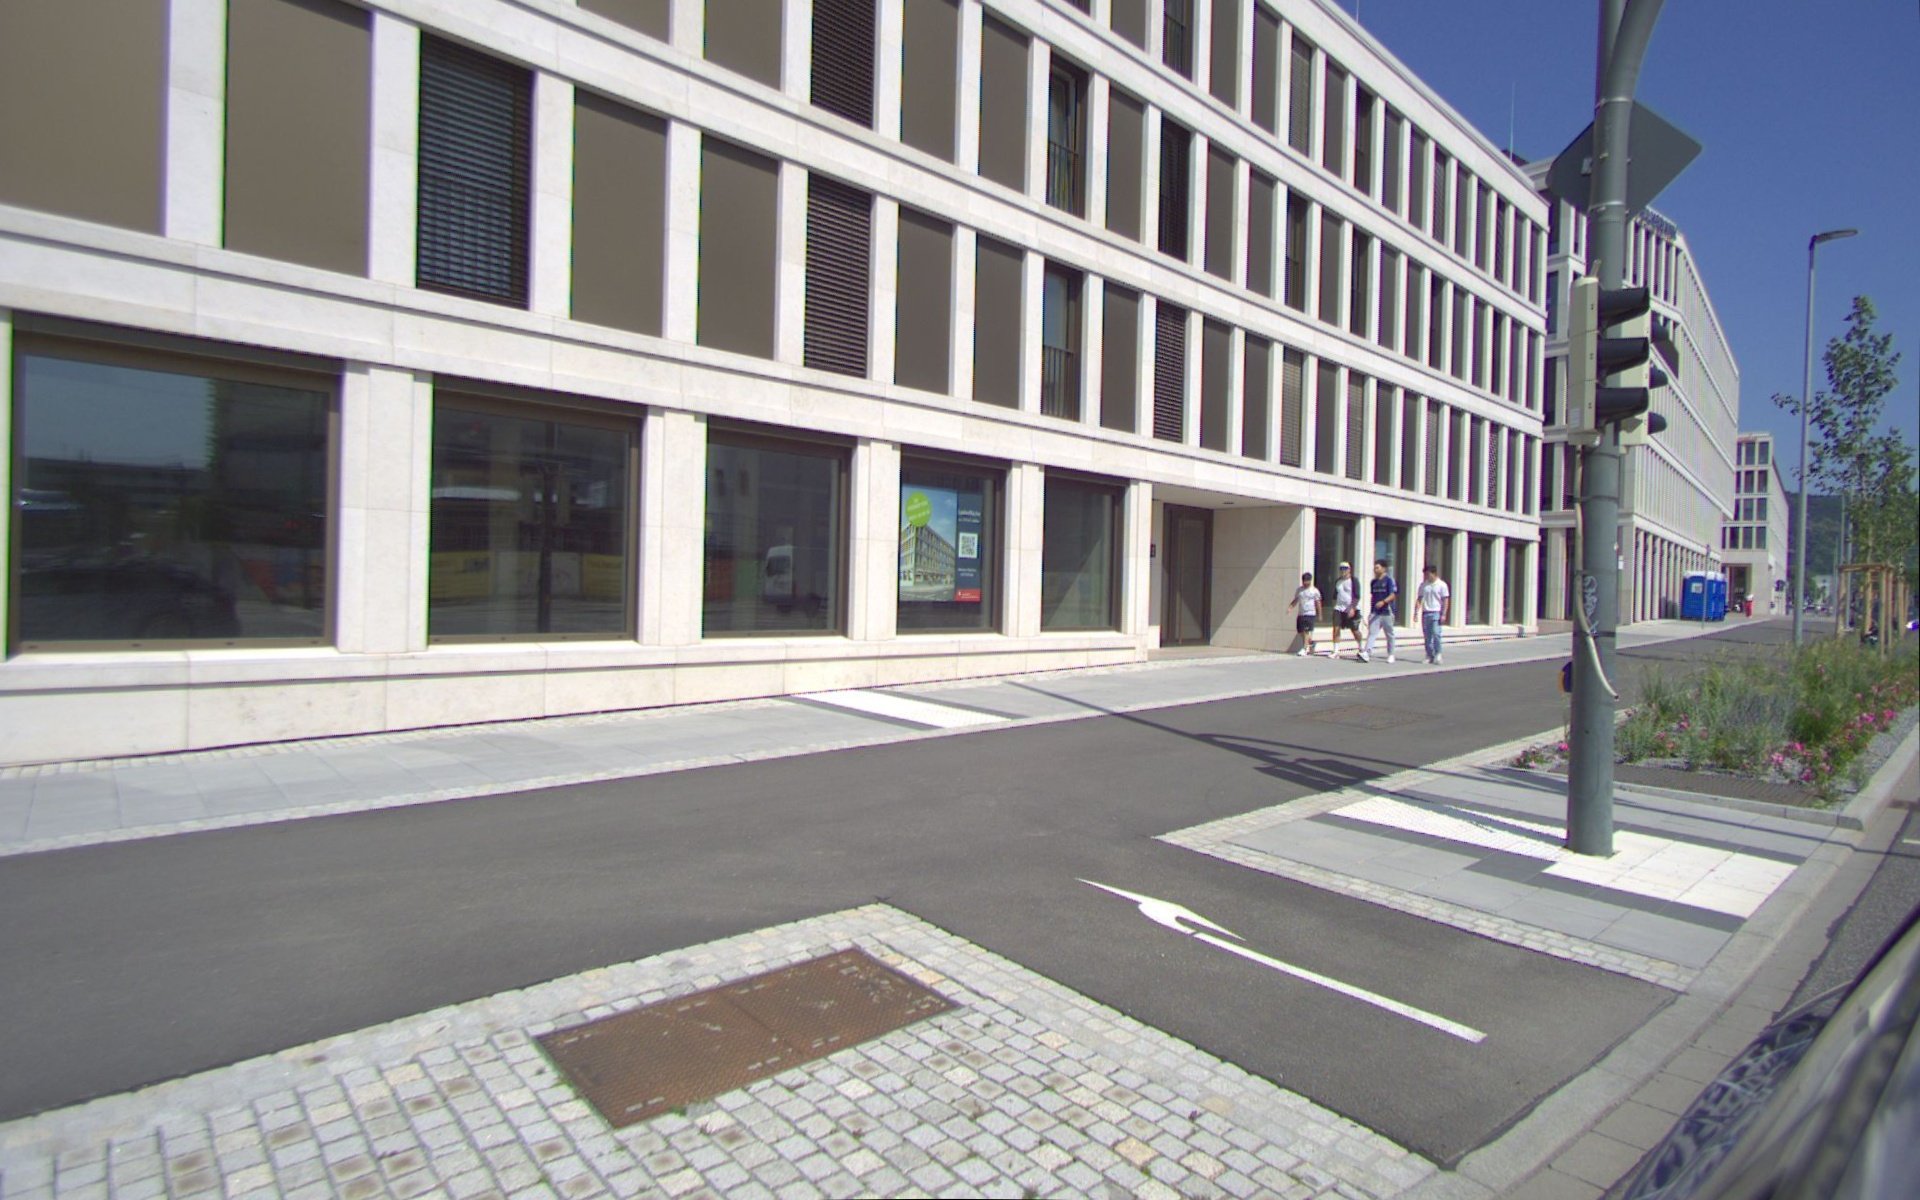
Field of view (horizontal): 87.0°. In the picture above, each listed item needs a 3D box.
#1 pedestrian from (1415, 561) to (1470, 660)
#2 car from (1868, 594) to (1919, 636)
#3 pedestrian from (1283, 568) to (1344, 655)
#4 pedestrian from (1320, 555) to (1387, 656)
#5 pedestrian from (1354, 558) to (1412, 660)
[{"bbox_3d":[8.763,0.169,18.387,0.980,1.741,0.577,-1,1,-44],"label":"pedestrian"},{"bbox_3d":[36.707,0.545,39.325,3.933,1.527,1.807,0,1,-44],"label":"car"},{"bbox_3d":[6.678,0.188,19.108,0.828,1.585,0.769,-1,2,-43],"label":"pedestrian"},{"bbox_3d":[7.289,0.080,18.751,0.911,1.806,0.825,-1,2,-43],"label":"pedestrian"},{"bbox_3d":[7.486,0.139,17.893,0.980,1.762,0.577,-1,2,-44],"label":"pedestrian"}]
